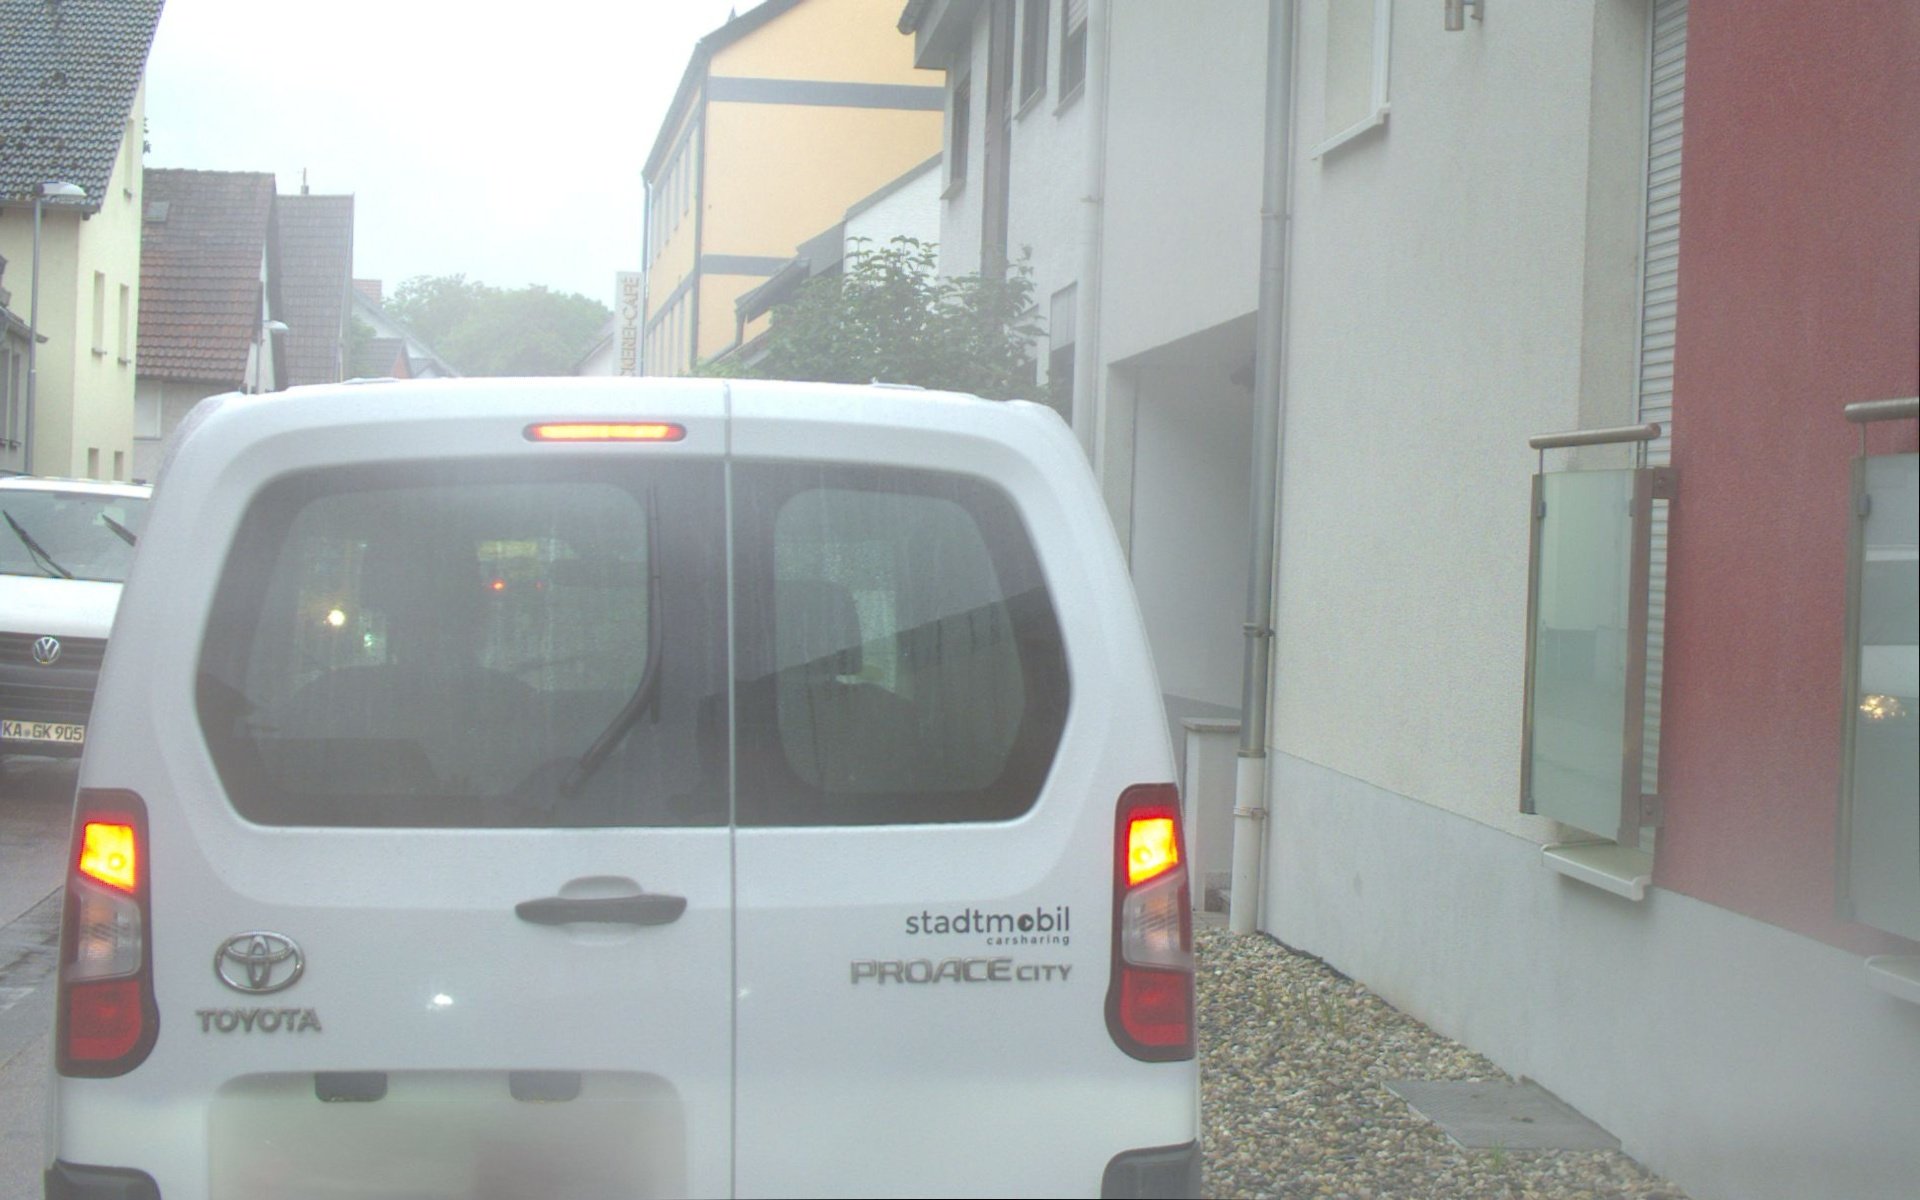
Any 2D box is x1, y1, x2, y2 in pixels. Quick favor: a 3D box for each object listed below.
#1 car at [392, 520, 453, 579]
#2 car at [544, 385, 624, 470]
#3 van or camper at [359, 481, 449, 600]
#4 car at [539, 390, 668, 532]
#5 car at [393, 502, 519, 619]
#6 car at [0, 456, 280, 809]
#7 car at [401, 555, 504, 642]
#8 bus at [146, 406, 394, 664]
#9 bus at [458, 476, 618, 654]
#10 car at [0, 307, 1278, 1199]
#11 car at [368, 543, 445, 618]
[{"bbox_3d":[-16.582,-1.540,106.197,1.578,1.718,3.551,3,0,-6],"label":"car"},{"bbox_3d":[-10.158,-4.648,93.068,1.993,2.007,4.001,3,0,-6],"label":"car"},{"bbox_3d":[-14.506,-1.529,89.908,1.835,2.915,5.364,3,0,-6],"label":"van or camper"},{"bbox_3d":[-5.643,-2.151,54.132,1.826,2.007,3.695,3,0,-7],"label":"car"},{"bbox_3d":[-6.973,-0.531,47.789,1.561,1.475,3.585,3,0,-7],"label":"car"},{"bbox_3d":[-5.547,0.159,22.031,1.892,1.960,4.724,3,0,-7],"label":"car"},{"bbox_3d":[-8.736,-0.033,59.405,1.561,1.367,3.585,3,0,-6],"label":"car"},{"bbox_3d":[-10.066,-0.902,50.927,2.793,3.317,8.179,4,0,-7],"label":"bus"},{"bbox_3d":[-8.489,-0.674,69.035,2.793,3.169,8.179,4,0,-7],"label":"bus"},{"bbox_3d":[-0.708,0.501,6.827,1.794,1.812,4.102,0,0,-7],"label":"car"},{"bbox_3d":[-13.602,-0.471,84.587,1.578,1.718,3.551,3,0,-6],"label":"car"}]
